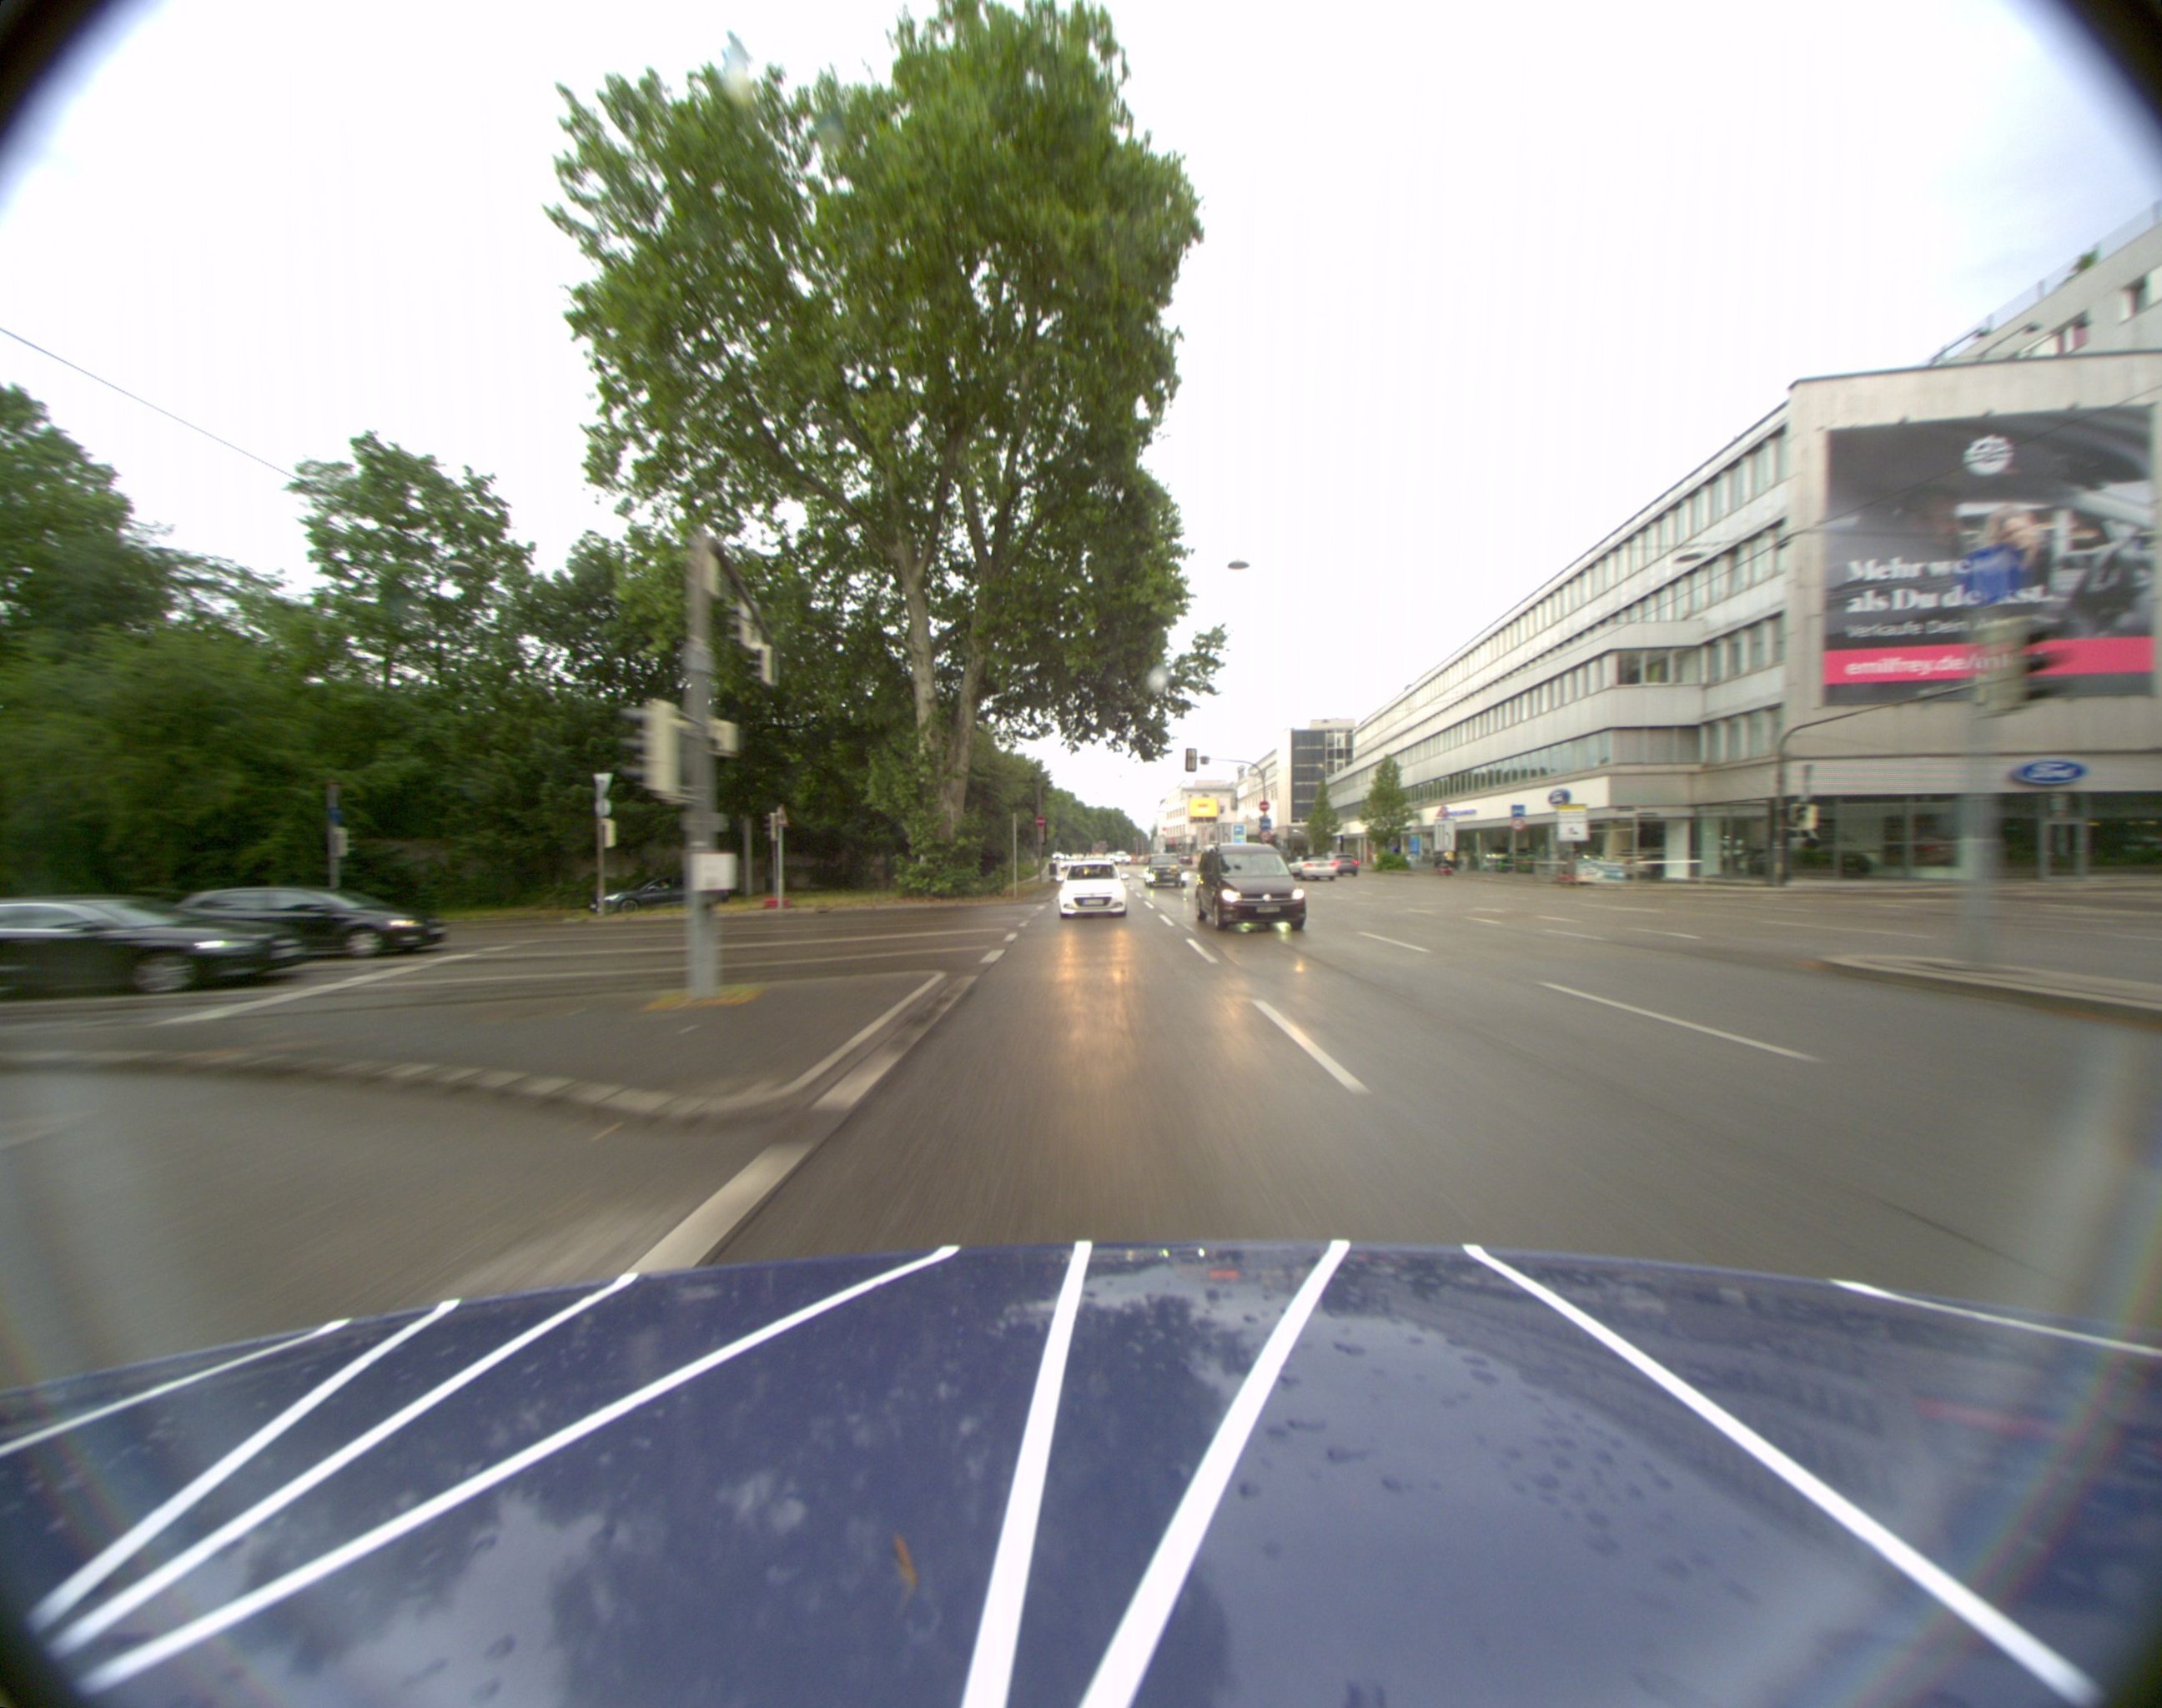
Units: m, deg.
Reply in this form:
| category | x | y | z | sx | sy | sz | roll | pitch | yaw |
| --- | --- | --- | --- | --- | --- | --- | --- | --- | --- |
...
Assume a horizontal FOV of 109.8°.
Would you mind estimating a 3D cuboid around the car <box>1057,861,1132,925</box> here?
| category | x | y | z | sx | sy | sz | roll | pitch | yaw |
| --- | --- | --- | --- | --- | --- | --- | --- | --- | --- |
| car | 0.347 | 0.949 | 19.910 | 1.731 | 1.431 | 4.000 | -1 | 0 | 1 |

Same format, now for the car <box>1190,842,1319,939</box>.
| category | x | y | z | sx | sy | sz | roll | pitch | yaw |
| --- | --- | --- | --- | --- | --- | --- | --- | --- | --- |
| car | 3.563 | 0.707 | 16.338 | 1.842 | 1.780 | 4.000 | -2 | 0 | 1 |

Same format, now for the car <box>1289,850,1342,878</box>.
| category | x | y | z | sx | sy | sz | roll | pitch | yaw |
| --- | --- | --- | --- | --- | --- | --- | --- | --- | --- |
| car | 12.647 | 0.530 | 41.235 | 1.685 | 1.431 | 4.000 | -1 | 0 | 1 |

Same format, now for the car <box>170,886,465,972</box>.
| category | x | y | z | sx | sy | sz | roll | pitch | yaw |
| --- | --- | --- | --- | --- | --- | --- | --- | --- | --- |
| car | -14.922 | 1.421 | 15.117 | 3.696 | 1.371 | 1.776 | -1 | 0 | -17 |

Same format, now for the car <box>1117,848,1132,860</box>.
| category | x | y | z | sx | sy | sz | roll | pitch | yaw |
| --- | --- | --- | --- | --- | --- | --- | --- | --- | --- |
| car | 5.582 | -0.038 | 97.354 | 1.730 | 1.502 | 3.733 | -1 | 0 | 6 |

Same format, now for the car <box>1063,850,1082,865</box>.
| category | x | y | z | sx | sy | sz | roll | pitch | yaw |
| --- | --- | --- | --- | --- | --- | --- | --- | --- | --- |
| car | -0.868 | 0.376 | 83.664 | 1.730 | 1.502 | 3.732 | -1 | 0 | 4 |

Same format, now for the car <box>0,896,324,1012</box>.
| category | x | y | z | sx | sy | sz | roll | pitch | yaw |
| --- | --- | --- | --- | --- | --- | --- | --- | --- | --- |
| car | -14.390 | 1.438 | 11.281 | 4.058 | 1.395 | 1.776 | -1 | 0 | -21 |

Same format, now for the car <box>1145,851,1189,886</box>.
| category | x | y | z | sx | sy | sz | roll | pitch | yaw |
| --- | --- | --- | --- | --- | --- | --- | --- | --- | --- |
| car | 4.186 | 0.671 | 37.318 | 1.731 | 1.604 | 4.000 | -1 | 0 | 1 |

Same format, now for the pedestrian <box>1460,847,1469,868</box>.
| category | x | y | z | sx | sy | sz | roll | pitch | yaw |
| --- | --- | --- | --- | --- | --- | --- | --- | --- | --- |
| pedestrian | 27.731 | 0.258 | 54.907 | 0.437 | 1.522 | 0.513 | -1 | 1 | 7 |

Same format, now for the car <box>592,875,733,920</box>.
| category | x | y | z | sx | sy | sz | roll | pitch | yaw |
| --- | --- | --- | --- | --- | --- | --- | --- | --- | --- |
| car | -15.587 | 1.576 | 28.488 | 1.774 | 1.395 | 4.234 | -1 | 0 | 39 |

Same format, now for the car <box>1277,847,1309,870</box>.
| category | x | y | z | sx | sy | sz | roll | pitch | yaw |
| --- | --- | --- | --- | --- | --- | --- | --- | --- | --- |
| car | 15.671 | 0.296 | 56.394 | 1.684 | 1.632 | 4.002 | -1 | 0 | 7 |

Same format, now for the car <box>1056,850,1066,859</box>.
| category | x | y | z | sx | sy | sz | roll | pitch | yaw |
| --- | --- | --- | --- | --- | --- | --- | --- | --- | --- |
| car | -4.417 | 0.070 | 165.785 | 1.878 | 1.761 | 4.000 | -2 | 1 | 2 |

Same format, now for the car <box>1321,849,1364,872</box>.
| category | x | y | z | sx | sy | sz | roll | pitch | yaw |
| --- | --- | --- | --- | --- | --- | --- | --- | --- | --- |
| car | 16.955 | 0.407 | 49.438 | 1.684 | 1.431 | 4.001 | -1 | 0 | 5 |

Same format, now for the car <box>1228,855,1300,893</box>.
| category | x | y | z | sx | sy | sz | roll | pitch | yaw |
| --- | --- | --- | --- | --- | --- | --- | --- | --- | --- |
| car | 7.349 | 0.817 | 30.928 | 1.670 | 1.406 | 4.540 | -1 | -1 | -2 |

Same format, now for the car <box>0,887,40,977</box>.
| category | x | y | z | sx | sy | sz | roll | pitch | yaw |
| --- | --- | --- | --- | --- | --- | --- | --- | --- | --- |
| car | -21.306 | 1.457 | 12.849 | 4.057 | 1.594 | 1.776 | -1 | 0 | -18 |

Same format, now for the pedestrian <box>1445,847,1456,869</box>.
| category | x | y | z | sx | sy | sz | roll | pitch | yaw |
| --- | --- | --- | --- | --- | --- | --- | --- | --- | --- |
| pedestrian | 26.837 | 0.290 | 55.125 | 0.575 | 1.522 | 0.454 | -1 | 1 | 7 |
